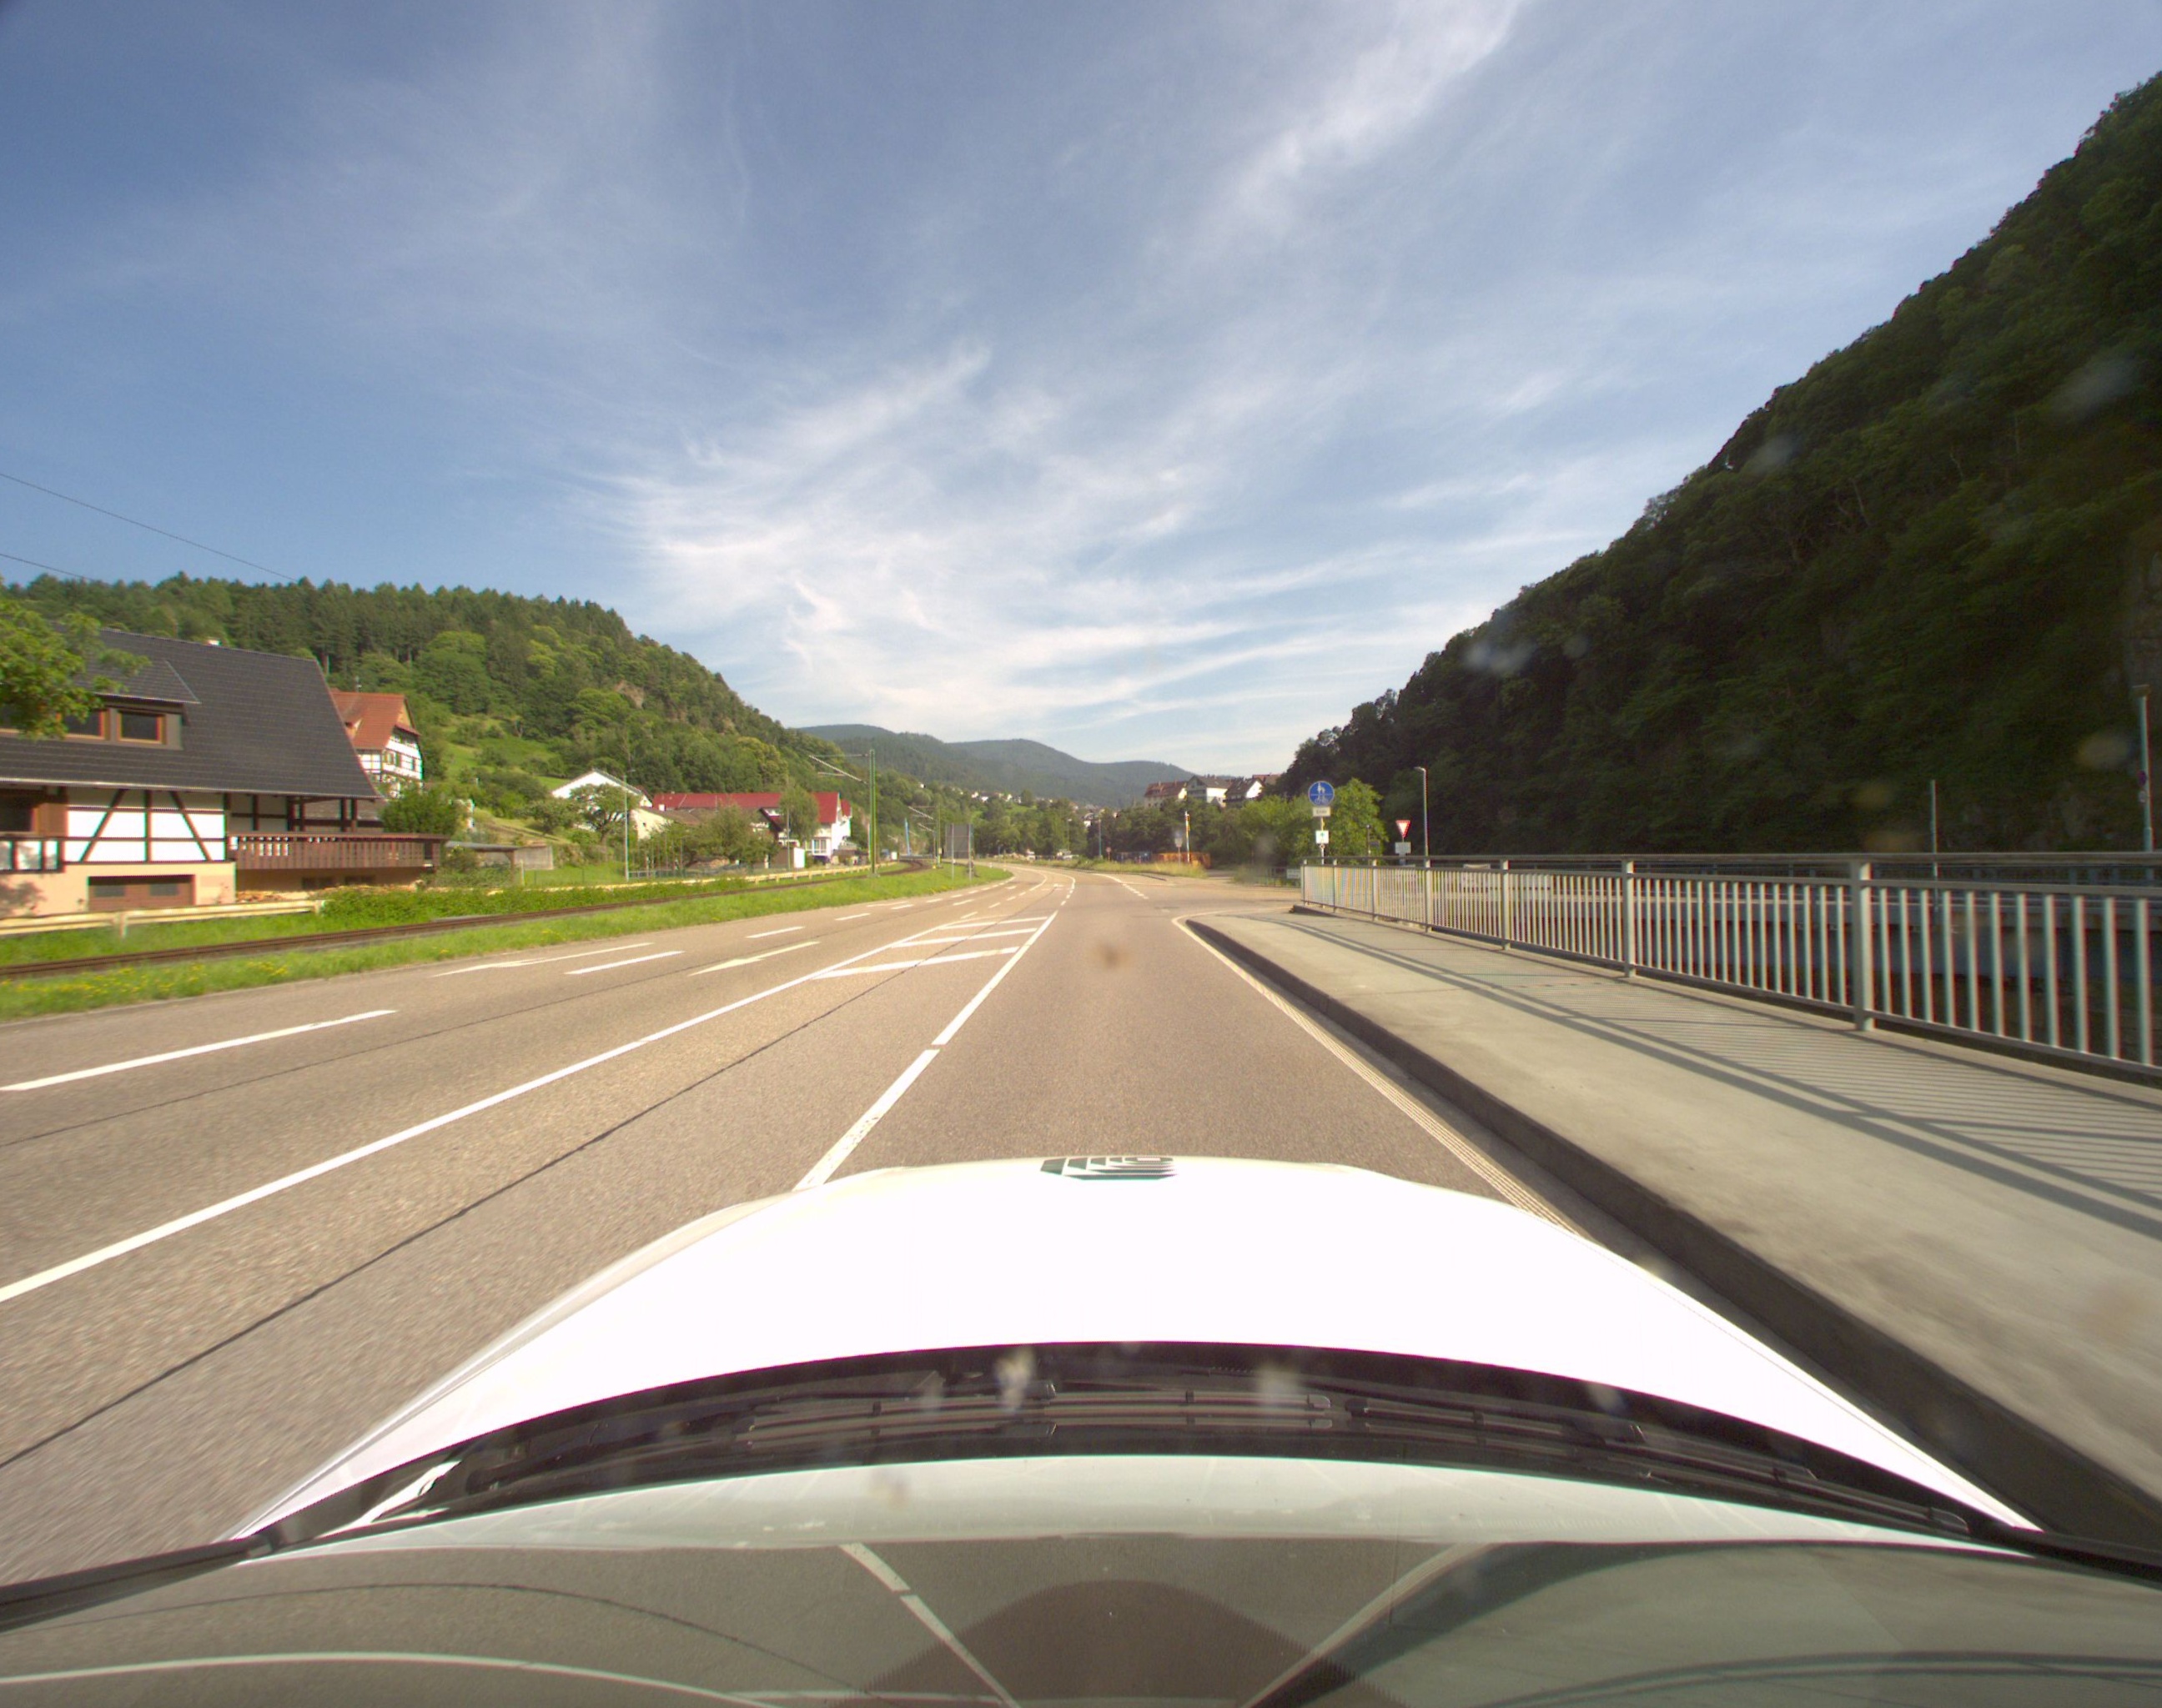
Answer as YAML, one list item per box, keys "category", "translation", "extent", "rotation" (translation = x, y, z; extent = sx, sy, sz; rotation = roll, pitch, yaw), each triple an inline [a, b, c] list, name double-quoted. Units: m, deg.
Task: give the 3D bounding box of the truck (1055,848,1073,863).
- category: "truck"
  translation: [-4.629, 0.373, 220.737]
  extent: [3.109, 3.782, 8.599]
  rotation: [0, 0, -15]

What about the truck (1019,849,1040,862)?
- category: "truck"
  translation: [-15.007, 0.433, 236.747]
  extent: [3.118, 3.782, 8.575]
  rotation: [0, 0, -24]

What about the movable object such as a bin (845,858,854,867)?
- category: "movable object such as a bin"
  translation: [-32.614, 1.175, 114.754]
  extent: [1.142, 1.192, 1.087]
  rotation: [-1, 0, -16]

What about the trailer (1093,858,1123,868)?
- category: "trailer"
  translation: [4.035, 1.328, 123.670]
  extent: [2.791, 1.474, 9.855]
  rotation: [1, 0, -9]

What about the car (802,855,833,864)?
- category: "car"
  translation: [-38.376, 0.742, 118.588]
  extent: [4.093, 1.270, 1.731]
  rotation: [-1, 0, -9]
